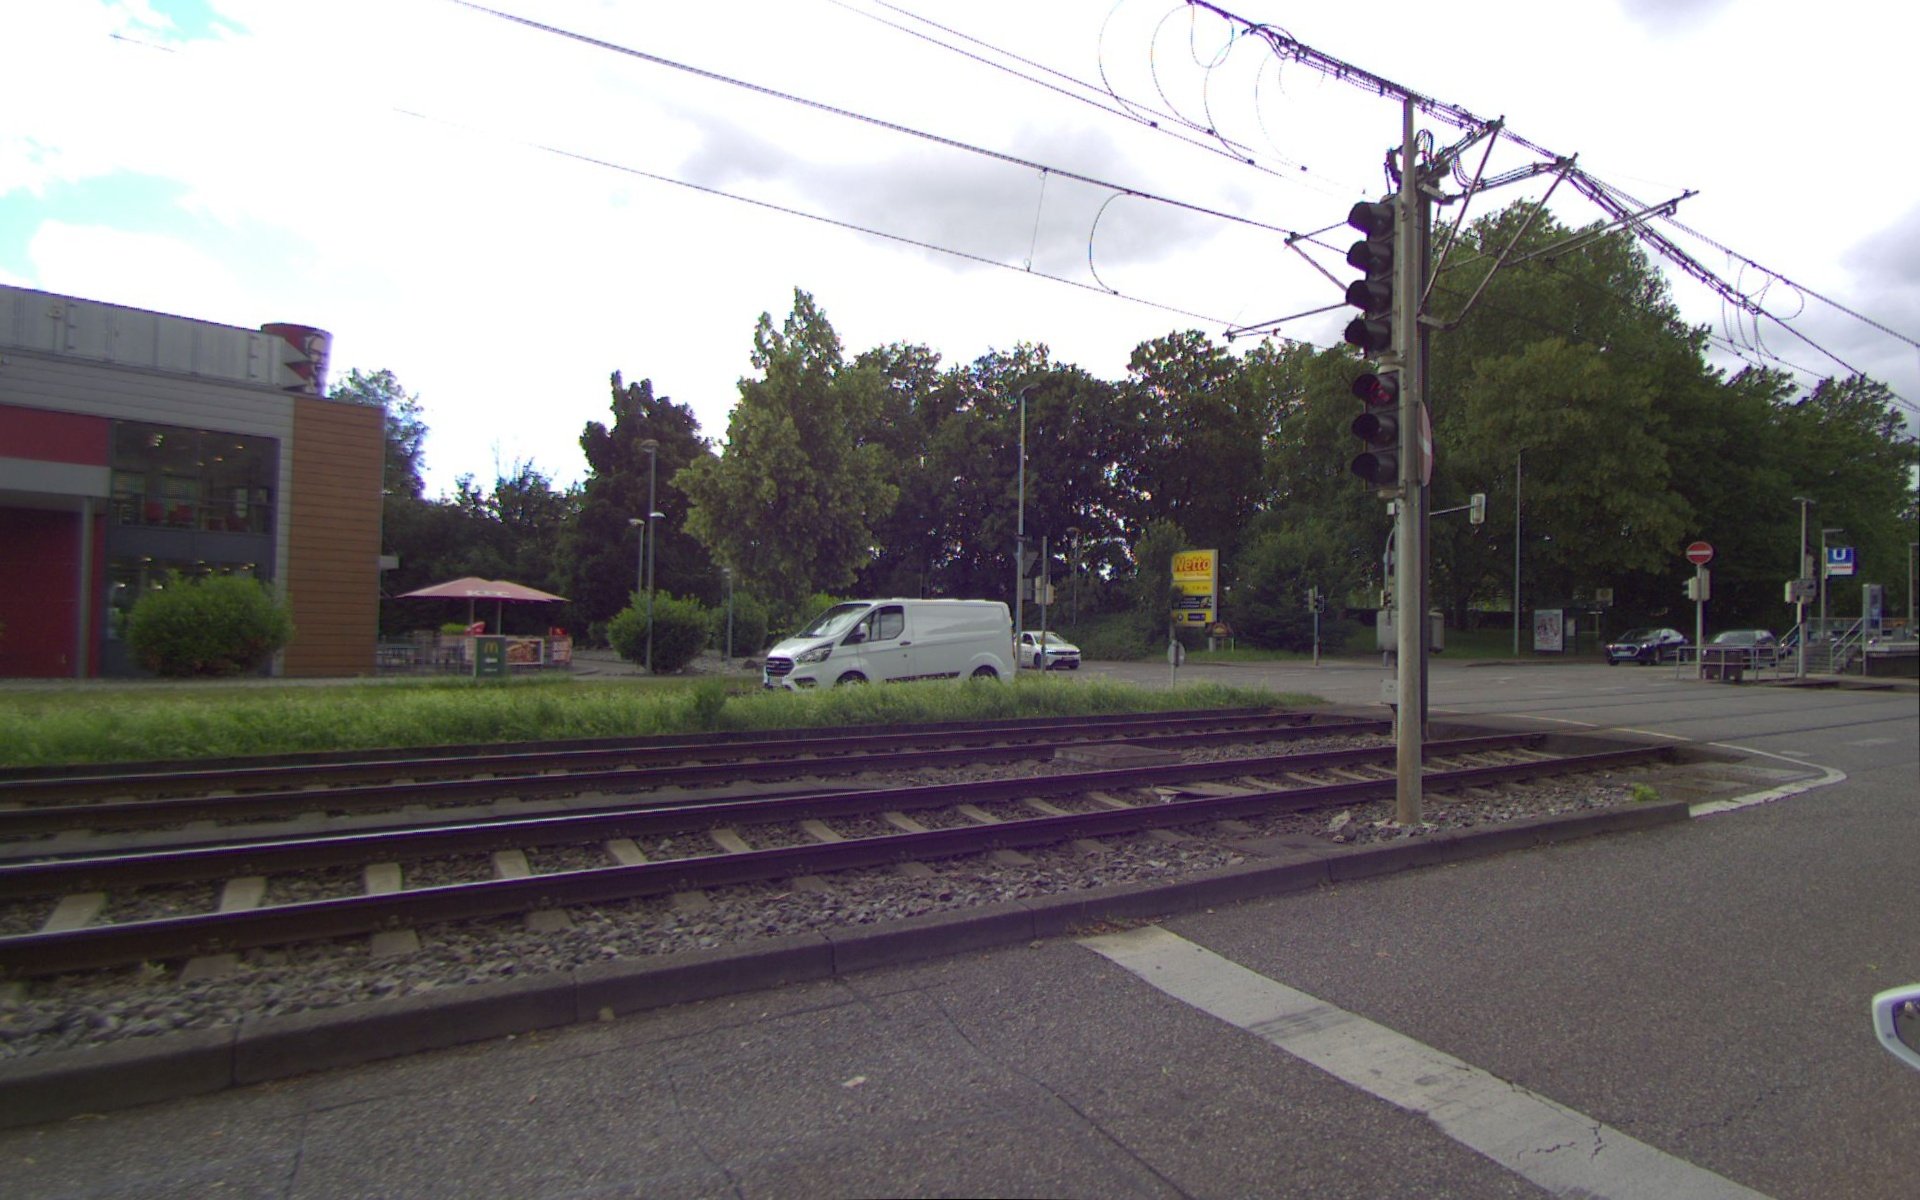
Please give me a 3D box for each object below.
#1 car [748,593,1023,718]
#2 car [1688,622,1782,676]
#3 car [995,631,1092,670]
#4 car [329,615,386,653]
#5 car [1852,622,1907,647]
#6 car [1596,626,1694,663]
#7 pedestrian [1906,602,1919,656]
[{"bbox_3d":[-1.293,1.011,18.733,4.841,2.040,1.979,2,-2,-37],"label":"car"},{"bbox_3d":[29.351,1.841,38.008,3.960,1.885,1.686,2,0,-35],"label":"car"},{"bbox_3d":[3.210,1.966,39.381,1.827,1.426,3.857,2,-2,-33],"label":"car"},{"bbox_3d":[-33.414,1.859,55.633,1.985,2.040,3.951,1,-1,-42],"label":"car"},{"bbox_3d":[56.850,2.160,62.087,3.960,1.464,1.675,2,-4,-35],"label":"car"},{"bbox_3d":[29.167,1.874,42.726,4.462,1.501,1.981,1,-3,-35],"label":"car"},{"bbox_3d":[39.291,1.180,40.854,0.965,2.215,0.964,1,-1,-33],"label":"pedestrian"}]
